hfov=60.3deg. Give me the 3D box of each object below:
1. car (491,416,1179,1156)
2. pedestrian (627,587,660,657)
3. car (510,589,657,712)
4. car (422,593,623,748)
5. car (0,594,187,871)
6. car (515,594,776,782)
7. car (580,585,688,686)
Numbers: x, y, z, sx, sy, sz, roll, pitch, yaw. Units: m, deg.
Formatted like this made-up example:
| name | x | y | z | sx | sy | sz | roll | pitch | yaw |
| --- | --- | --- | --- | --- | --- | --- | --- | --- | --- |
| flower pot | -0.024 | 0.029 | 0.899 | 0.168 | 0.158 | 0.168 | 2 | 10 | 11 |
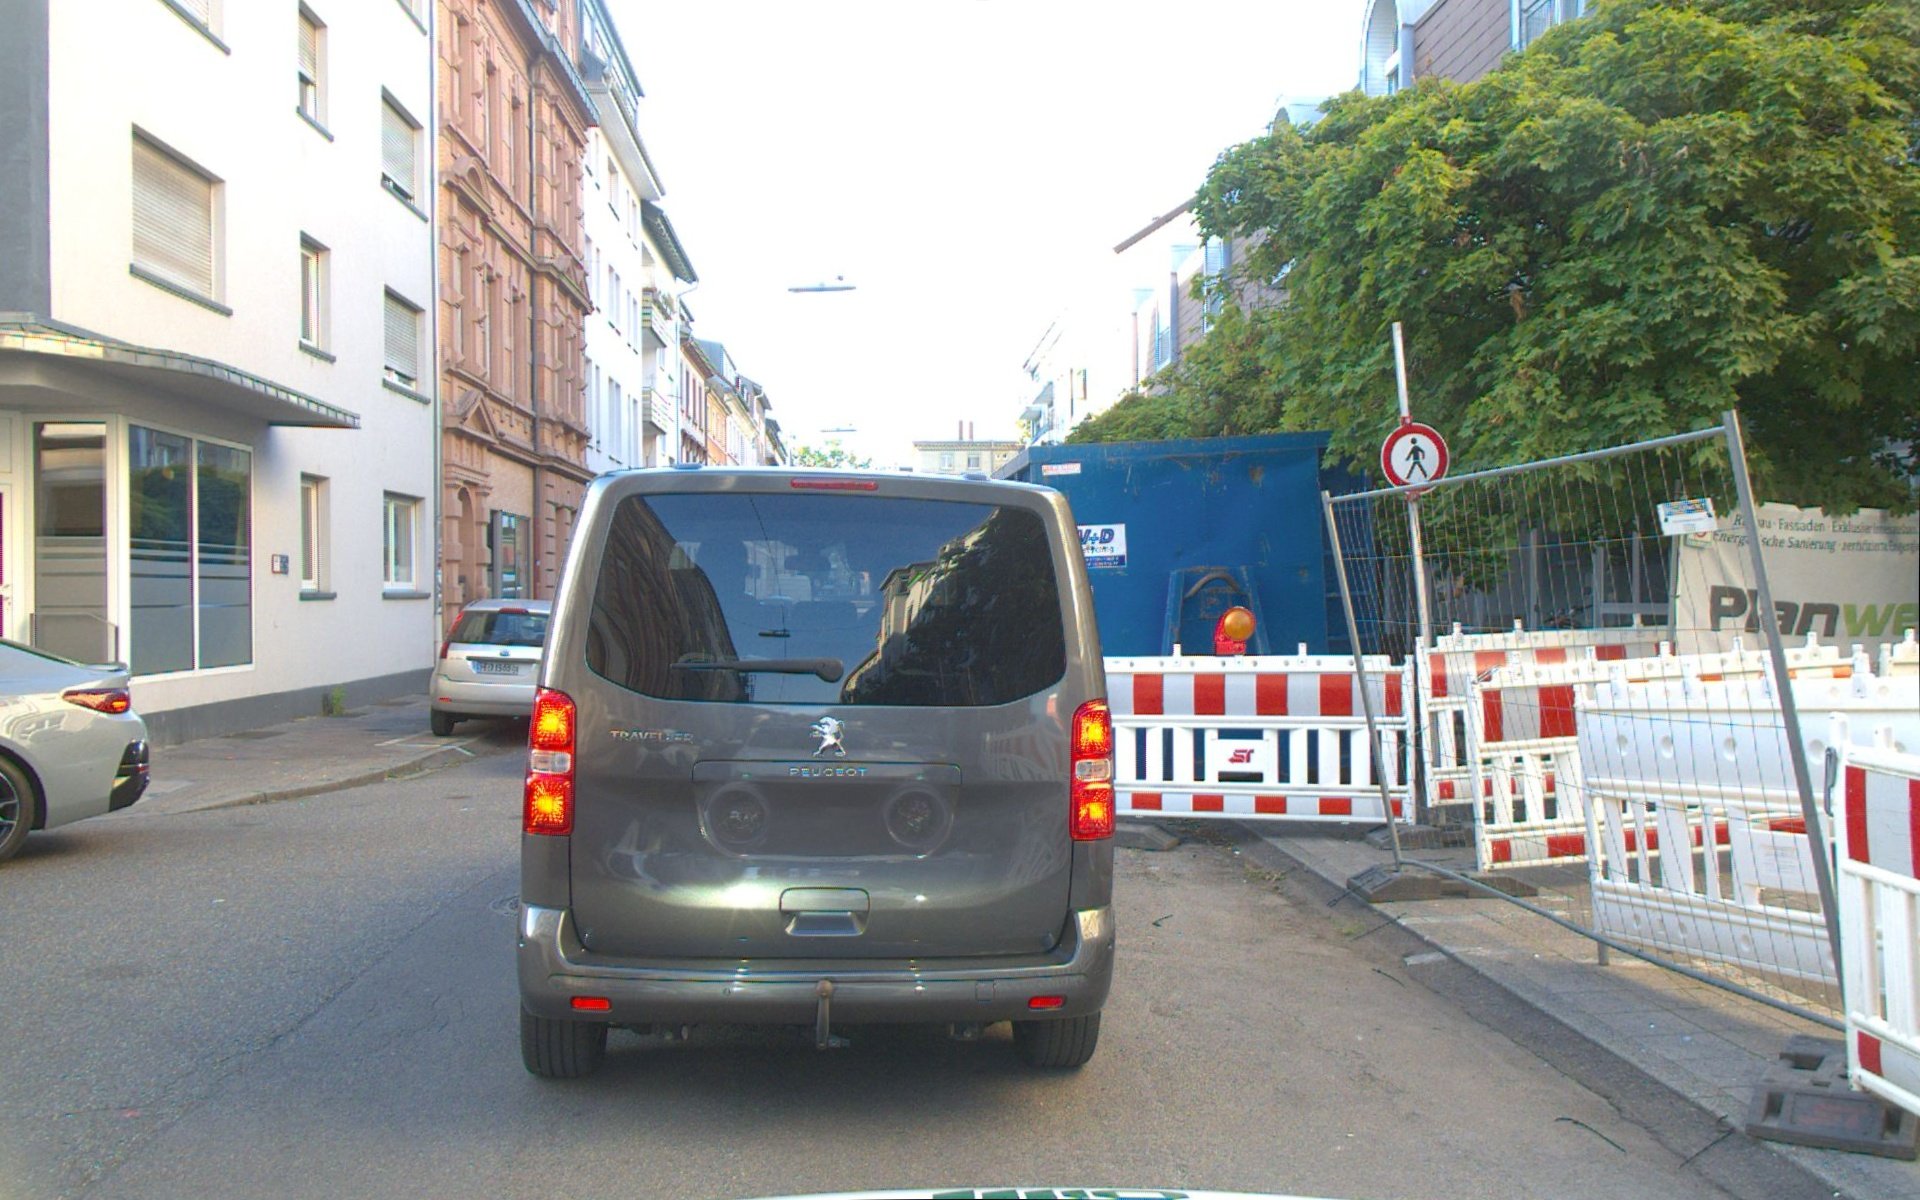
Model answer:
| name | x | y | z | sx | sy | sz | roll | pitch | yaw |
| --- | --- | --- | --- | --- | --- | --- | --- | --- | --- |
| car | -0.554 | 0.499 | 6.521 | 1.829 | 1.919 | 4.229 | 0 | 0 | -7 |
| pedestrian | -7.731 | 0.525 | 40.394 | 0.726 | 1.693 | 0.702 | -1 | 0 | -8 |
| car | -5.386 | 0.693 | 23.997 | 1.625 | 1.552 | 3.412 | 4 | -1 | -7 |
| car | -4.835 | 0.737 | 18.698 | 1.625 | 1.485 | 3.412 | 4 | -1 | -7 |
| car | -6.849 | 0.733 | 8.670 | 4.766 | 1.477 | 1.906 | -1 | 0 | -40 |
| car | -2.751 | 0.744 | 15.167 | 1.622 | 1.486 | 3.418 | -1 | -1 | 2 |
| car | -6.074 | 0.646 | 31.068 | 1.635 | 1.695 | 3.087 | 4 | -1 | -7 |
